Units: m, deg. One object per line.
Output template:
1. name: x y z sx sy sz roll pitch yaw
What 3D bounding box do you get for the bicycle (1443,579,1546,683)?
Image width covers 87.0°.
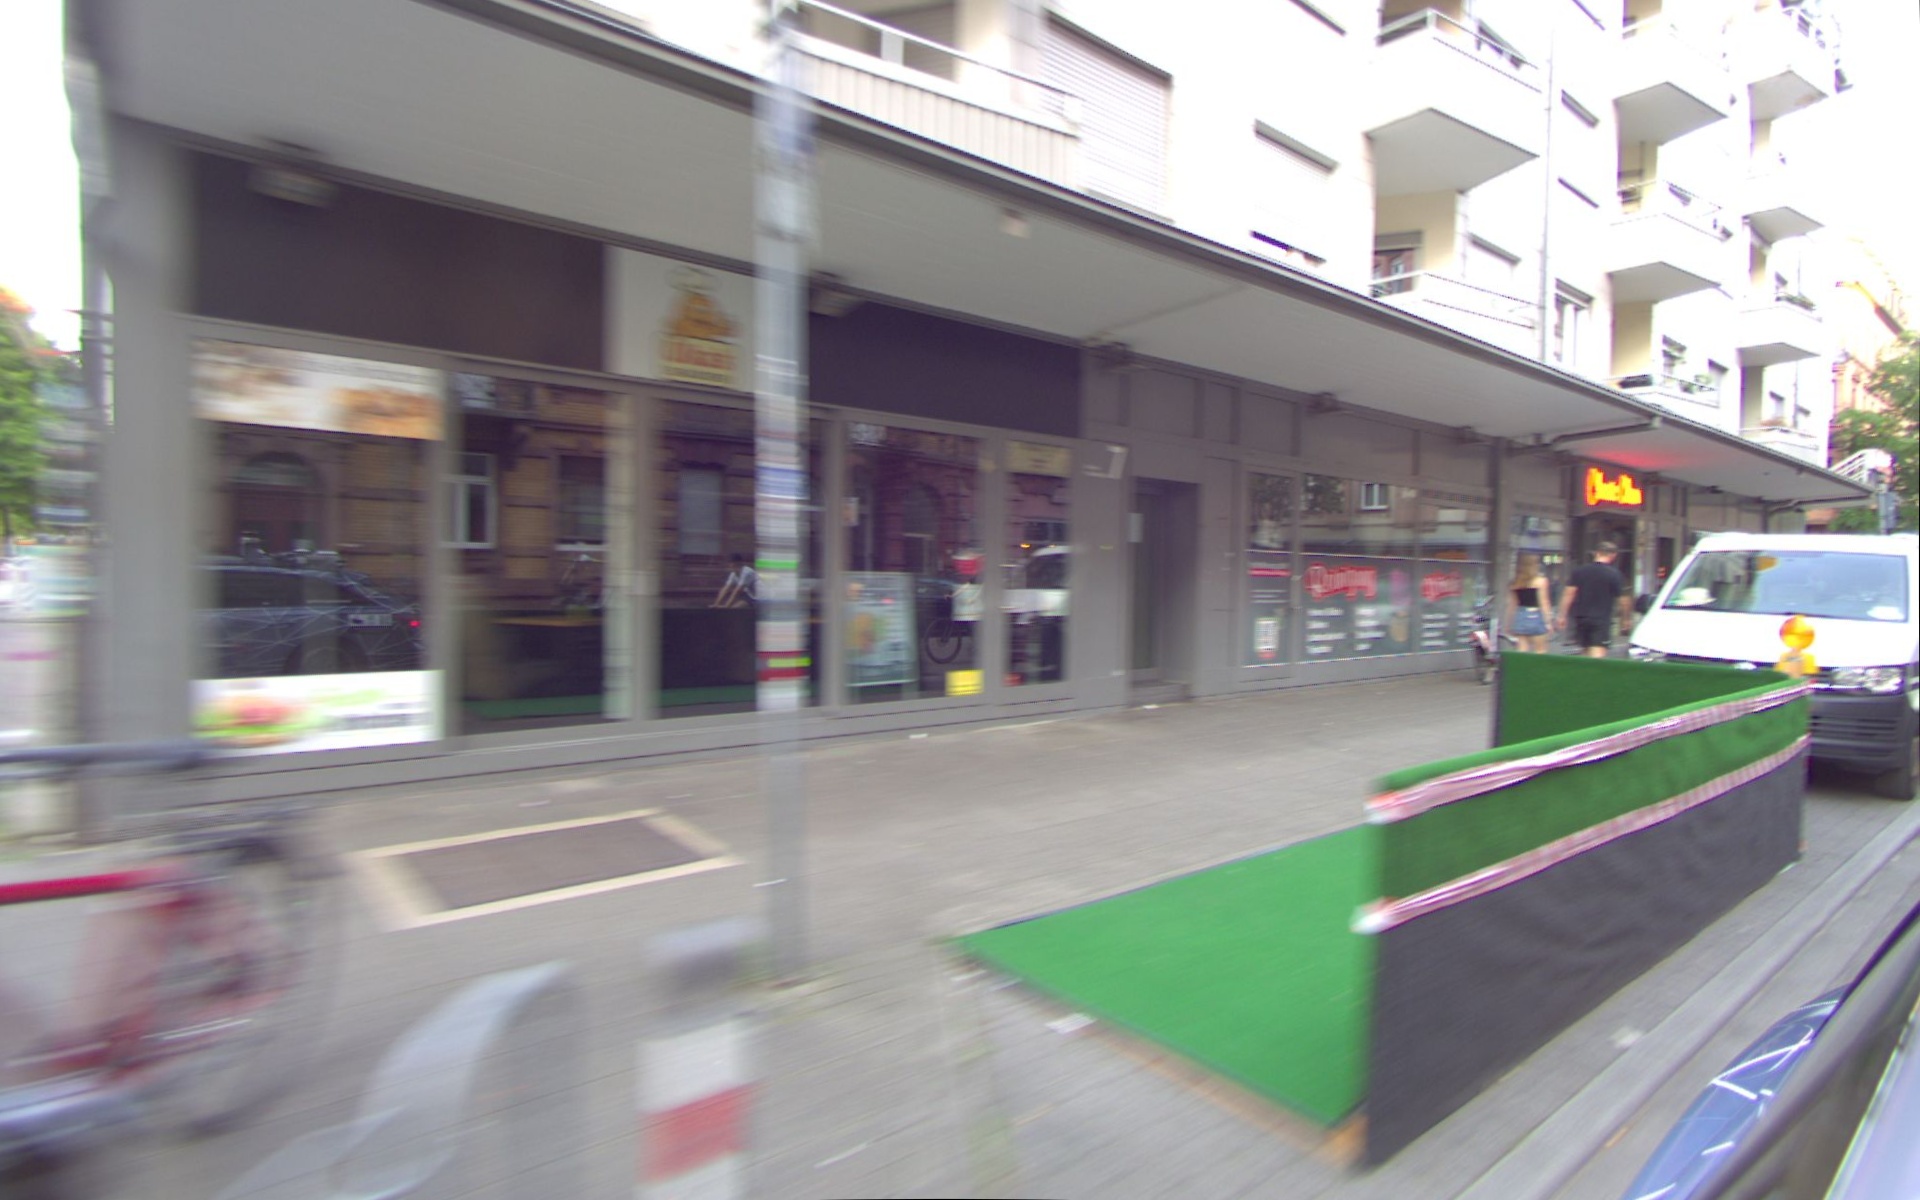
1. bicycle: 7.170 0.367 13.528 0.908 1.210 1.689 4 4 37

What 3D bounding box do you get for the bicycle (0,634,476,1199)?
1. bicycle: -1.747 0.750 2.073 0.644 1.148 1.947 2 4 -2

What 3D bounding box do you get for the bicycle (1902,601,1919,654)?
1. bicycle: 19.218 0.585 19.468 0.501 1.014 1.485 -1 4 -32

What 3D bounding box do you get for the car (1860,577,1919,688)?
1. car: 14.728 0.458 15.037 3.365 1.519 1.595 -1 4 -42

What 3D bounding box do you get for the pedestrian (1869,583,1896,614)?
1. pedestrian: 39.859 -0.074 43.713 0.667 1.288 0.636 0 2 24

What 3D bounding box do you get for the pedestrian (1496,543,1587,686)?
1. pedestrian: 7.197 0.148 12.524 0.731 1.685 0.710 -2 4 -40

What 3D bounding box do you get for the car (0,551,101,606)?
1. car: -25.815 -0.637 28.737 1.776 1.437 4.133 -2 2 -35

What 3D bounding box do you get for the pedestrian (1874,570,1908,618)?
1. pedestrian: 37.325 -0.268 40.577 0.892 1.891 0.676 -1 2 -25

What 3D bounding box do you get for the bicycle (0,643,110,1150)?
1. bicycle: -2.525 0.748 1.679 0.644 1.148 1.947 2 4 -2

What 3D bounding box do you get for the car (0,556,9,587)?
1. car: -53.332 -1.493 53.612 1.931 1.704 3.956 1 2 31

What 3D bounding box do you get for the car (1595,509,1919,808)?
1. car: 7.761 0.322 9.051 4.912 1.997 1.964 0 4 -39

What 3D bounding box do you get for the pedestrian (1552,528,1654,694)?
1. pedestrian: 7.476 0.095 11.773 0.845 1.850 0.710 -2 4 -40
